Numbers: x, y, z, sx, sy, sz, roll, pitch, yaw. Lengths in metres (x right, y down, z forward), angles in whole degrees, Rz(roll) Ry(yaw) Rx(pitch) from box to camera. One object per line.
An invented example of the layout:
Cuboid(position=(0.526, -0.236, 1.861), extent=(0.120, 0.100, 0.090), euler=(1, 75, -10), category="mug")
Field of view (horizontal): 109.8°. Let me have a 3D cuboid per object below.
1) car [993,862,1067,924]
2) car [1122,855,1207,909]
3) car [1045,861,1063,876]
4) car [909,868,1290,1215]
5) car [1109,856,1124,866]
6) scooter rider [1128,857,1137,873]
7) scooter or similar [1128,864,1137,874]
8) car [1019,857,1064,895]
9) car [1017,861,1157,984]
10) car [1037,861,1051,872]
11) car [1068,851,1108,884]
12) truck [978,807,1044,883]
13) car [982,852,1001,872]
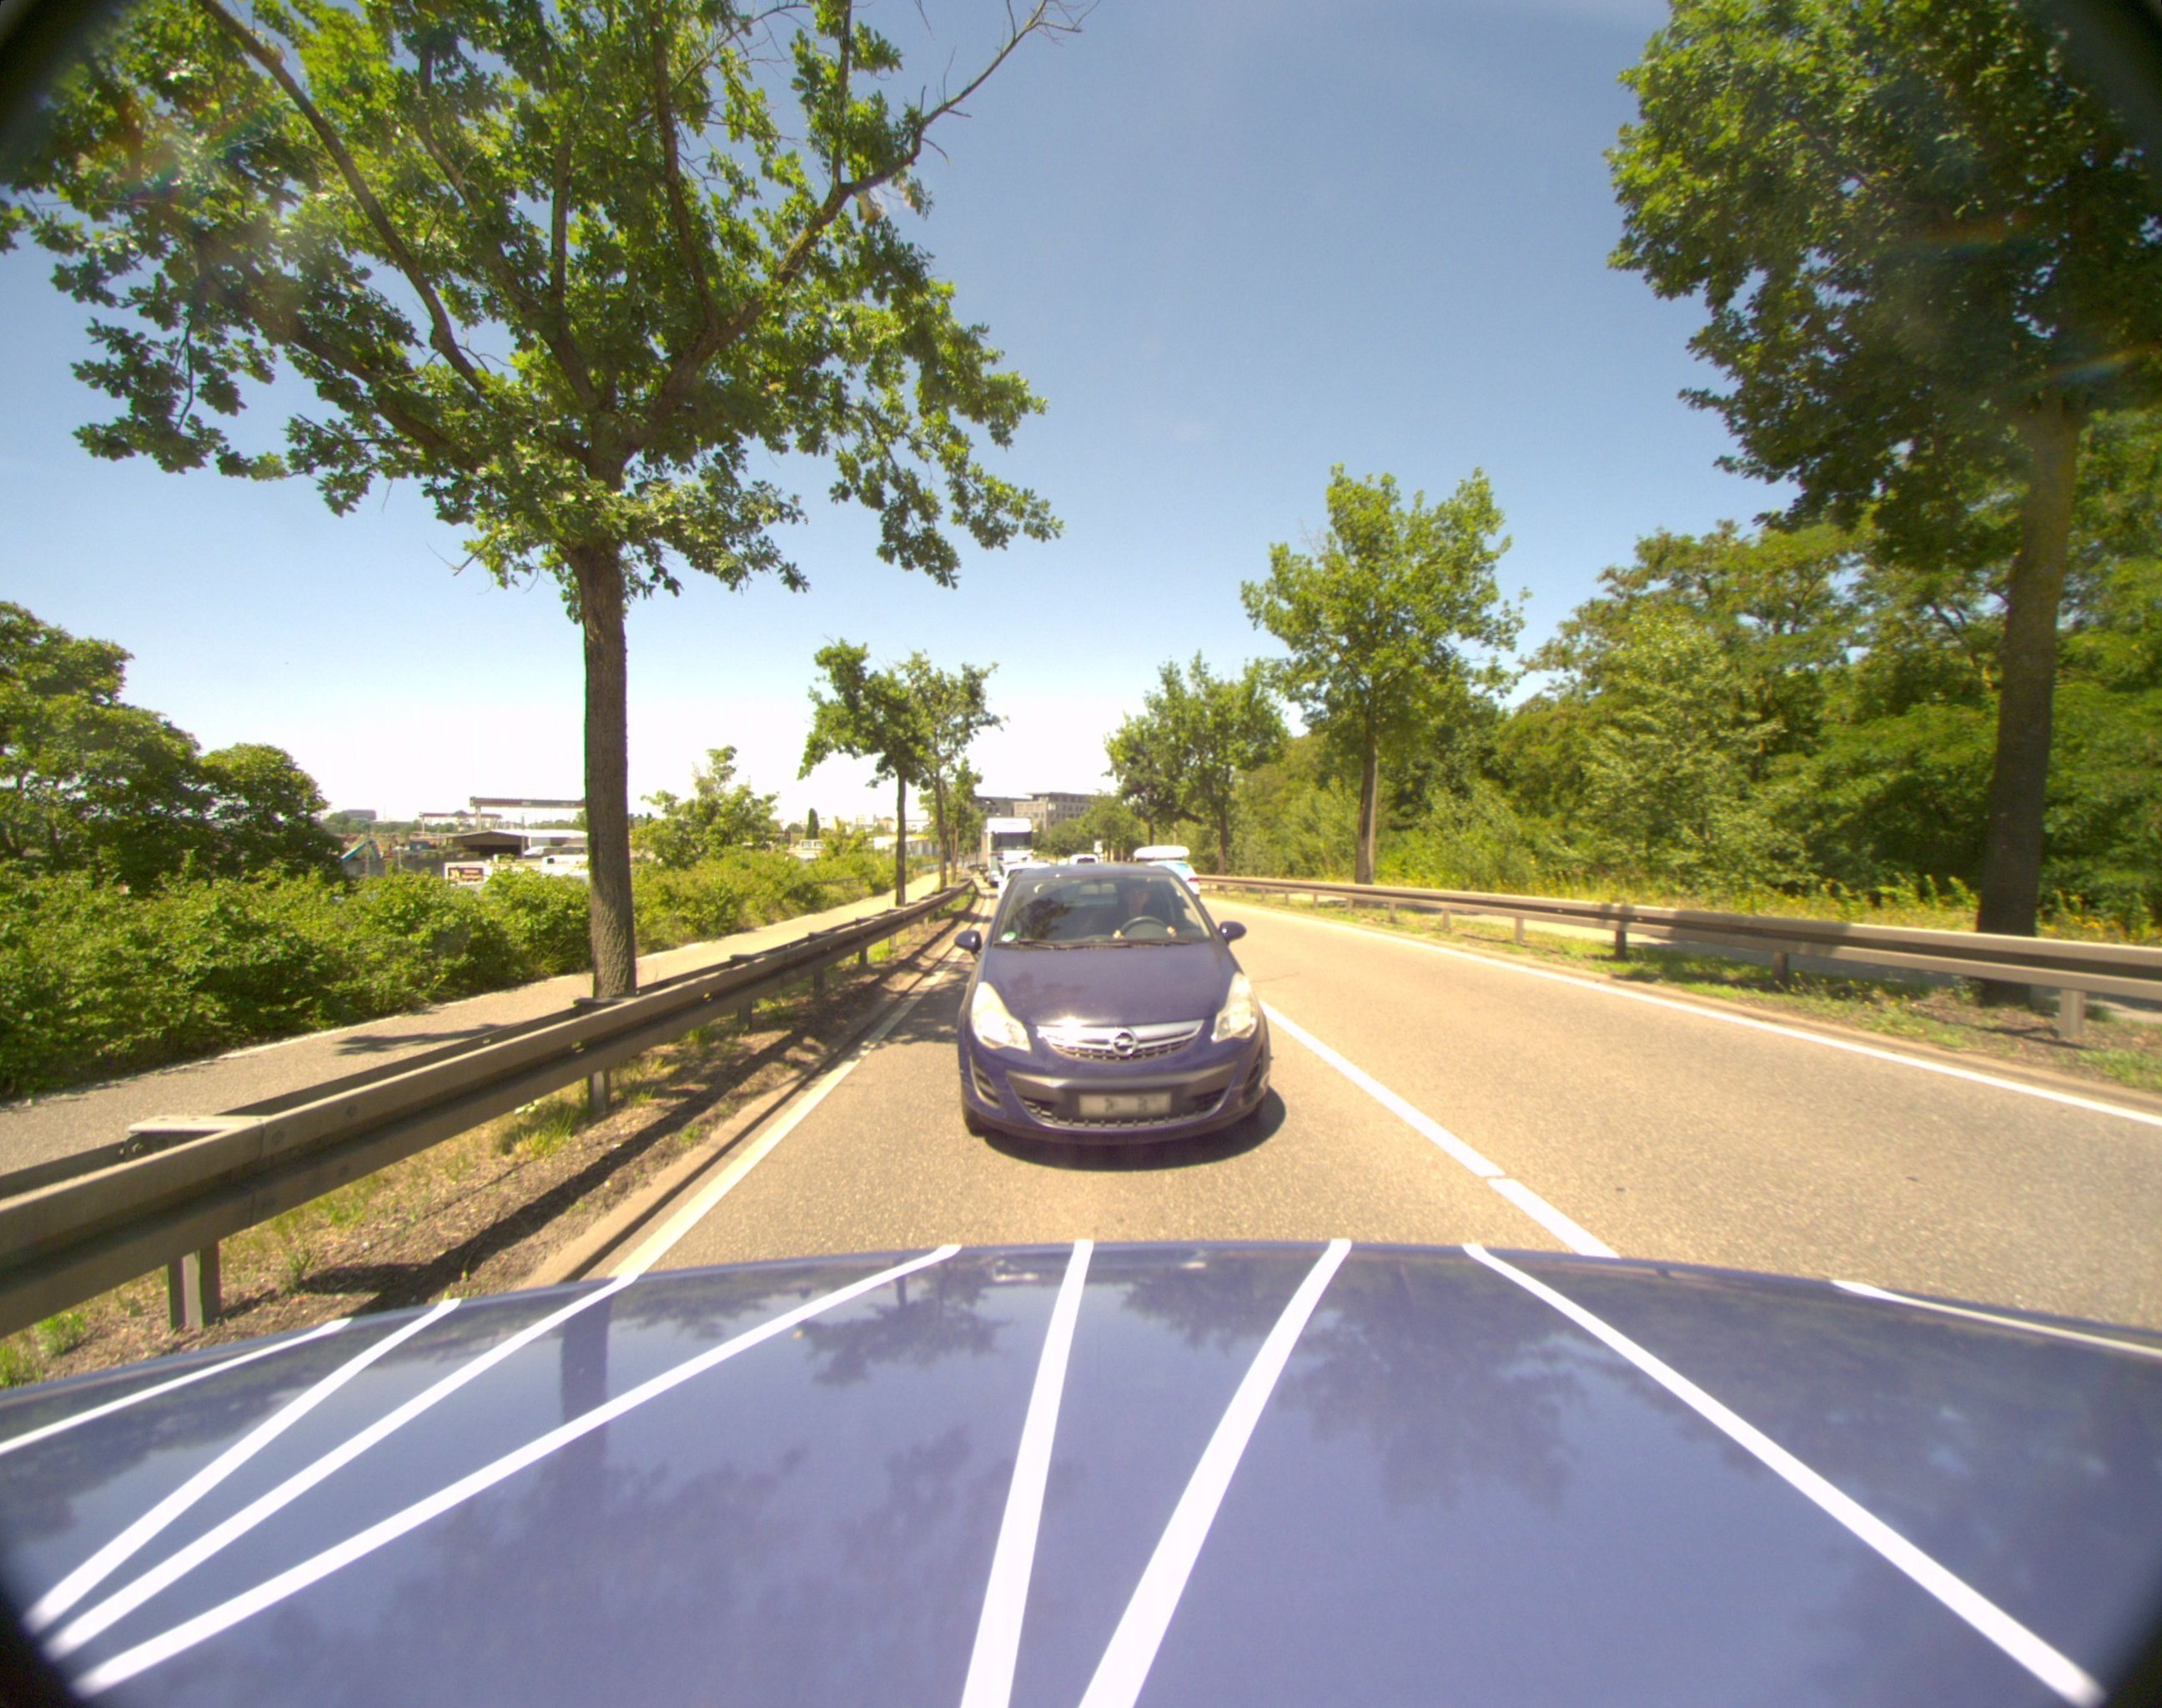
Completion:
Cuboid(position=(-1.389, 0.986, 20.797), extent=(1.781, 1.398, 3.998), euler=(-2, 0, -4), category="car")
Cuboid(position=(2.484, 0.797, 23.733), extent=(1.824, 1.413, 4.464), euler=(-2, 0, -4), category="car")
Cuboid(position=(-2.754, 1.492, 76.981), extent=(1.561, 1.364, 3.886), euler=(-2, 0, -5), category="car")
Cuboid(position=(0.064, 0.908, 5.450), extent=(1.720, 1.455, 3.837), euler=(-2, 0, -1), category="car")
Cuboid(position=(6.232, 1.166, 132.193), extent=(1.872, 1.594, 4.397), euler=(-2, 0, 12), category="car")
Cuboid(position=(5.444, 1.134, 80.358), extent=(0.779, 1.648, 1.120), euler=(-2, 1, -4), category="scooter rider")
Cuboid(position=(5.476, 1.579, 80.361), extent=(0.779, 1.085, 1.094), euler=(-2, 1, -3), category="scooter or similar")
Cuboid(position=(-1.893, 0.973, 35.219), extent=(1.781, 1.569, 3.997), euler=(-2, 0, -6), category="car")
Cuboid(position=(0.071, 0.922, 11.928), extent=(1.780, 1.498, 3.896), euler=(-2, 0, 0), category="car")
Cuboid(position=(-6.976, 2.338, 144.084), extent=(1.779, 2.002, 4.002), euler=(-2, 0, 9), category="car")
Cuboid(position=(0.358, 0.752, 44.750), extent=(1.751, 1.753, 4.386), euler=(-2, 0, -7), category="car")
Cuboid(position=(-5.042, -0.519, 51.106), extent=(3.073, 4.146, 16.896), euler=(-2, 0, -9), category="truck")
Cuboid(position=(-9.270, 0.821, 78.818), extent=(1.781, 2.002, 3.997), euler=(-2, 0, -8), category="car")
